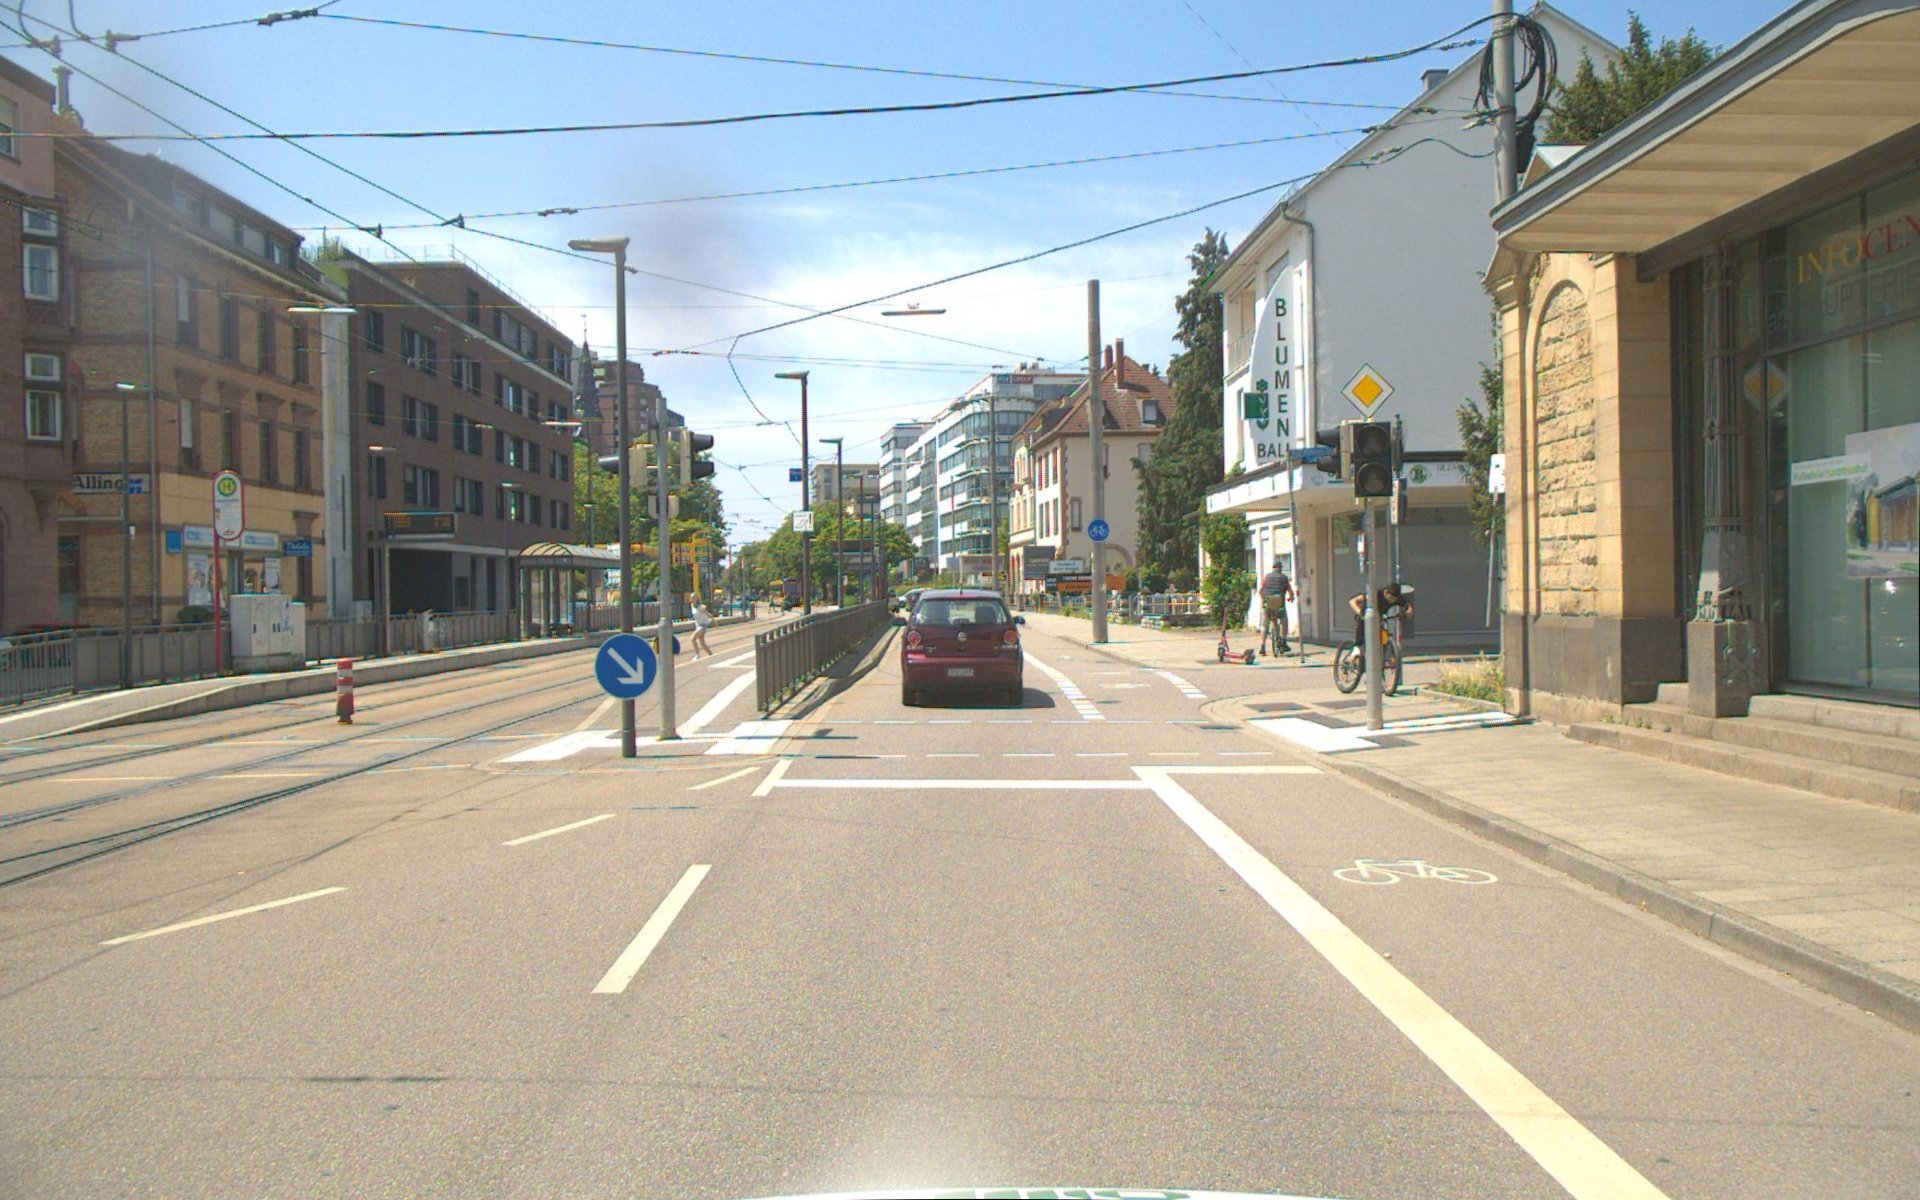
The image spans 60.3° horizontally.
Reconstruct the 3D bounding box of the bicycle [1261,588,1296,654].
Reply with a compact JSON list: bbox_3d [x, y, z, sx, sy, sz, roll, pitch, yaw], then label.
[{"bbox_3d":[6.187,0.384,32.068,0.367,1.218,1.906,-1,1,19],"label":"bicycle"}]

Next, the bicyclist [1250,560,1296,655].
[{"bbox_3d":[6.063,0.135,32.029,0.712,1.791,0.924,-1,0,18],"label":"bicyclist"}]

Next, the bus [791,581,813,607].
[{"bbox_3d":[-19.344,-0.742,202.169,2.106,3.055,6.558,-1,0,-10],"label":"bus"}]

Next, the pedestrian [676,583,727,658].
[{"bbox_3d":[-6.005,0.461,38.489,1.075,1.704,0.765,-1,0,-5],"label":"pedestrian"}]

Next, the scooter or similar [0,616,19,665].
[{"bbox_3d":[-22.148,0.931,37.437,0.477,1.101,1.578,-1,1,15],"label":"scooter or similar"}]

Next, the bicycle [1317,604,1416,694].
[{"bbox_3d":[5.200,0.604,21.269,0.655,1.019,1.863,-6,1,-2],"label":"bicycle"}]

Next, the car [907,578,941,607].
[{"bbox_3d":[-2.220,-0.454,101.210,1.954,1.653,4.629,-1,0,-3],"label":"car"}]

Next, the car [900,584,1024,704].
[{"bbox_3d":[-0.019,0.545,22.336,1.530,1.479,3.060,-1,0,-2],"label":"car"}]

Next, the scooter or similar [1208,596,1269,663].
[{"bbox_3d":[5.108,0.527,30.375,0.335,1.198,1.456,-1,0,-25],"label":"scooter or similar"}]

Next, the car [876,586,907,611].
[{"bbox_3d":[-5.391,-0.120,130.061,1.956,1.881,3.992,-2,1,-8],"label":"car"}]

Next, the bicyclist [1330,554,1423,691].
[{"bbox_3d":[5.347,0.280,21.289,0.816,1.645,0.859,-5,1,-3],"label":"bicyclist"}]

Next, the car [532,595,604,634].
[{"bbox_3d":[-16.556,0.587,70.022,1.952,1.534,4.001,-1,1,1],"label":"car"}]
